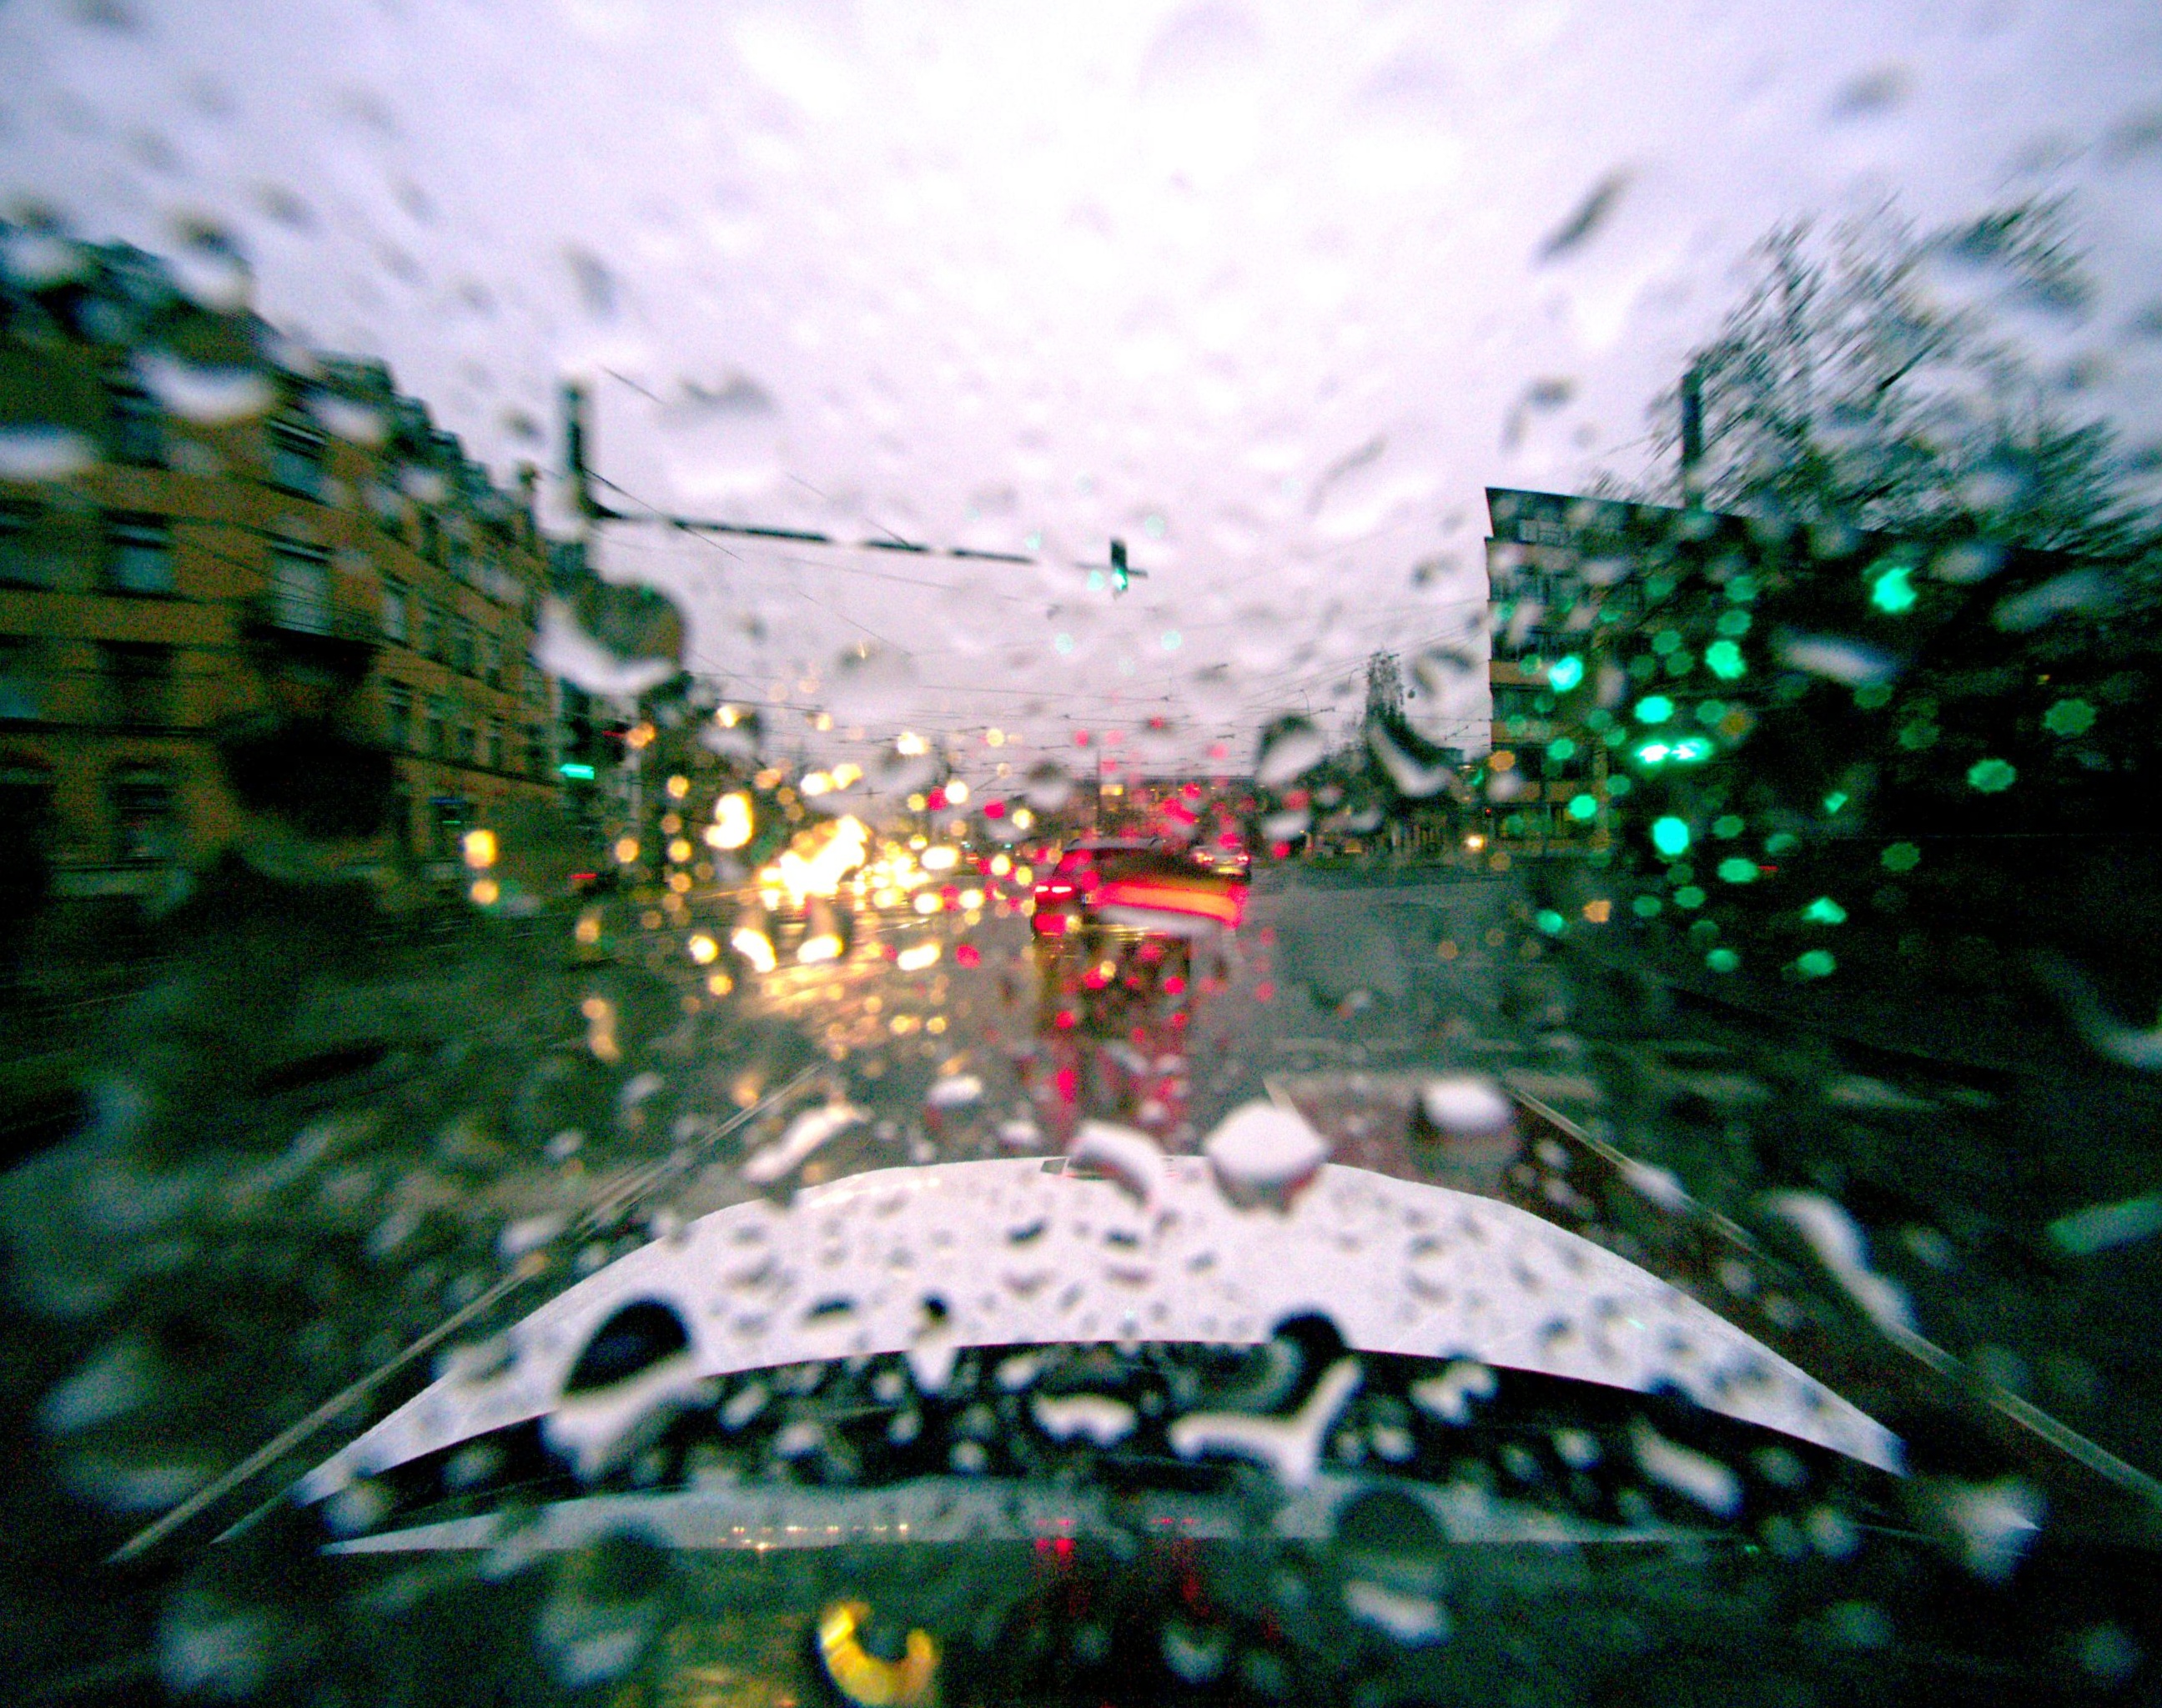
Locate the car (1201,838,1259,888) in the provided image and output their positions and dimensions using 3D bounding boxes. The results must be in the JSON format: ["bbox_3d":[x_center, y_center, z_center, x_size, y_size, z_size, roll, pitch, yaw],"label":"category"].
[{"bbox_3d":[5.773,0.291,31.273,1.980,1.765,4.013,-2,1,12],"label":"car"}]

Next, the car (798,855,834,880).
[{"bbox_3d":[-15.835,0.763,48.830,1.681,1.392,3.598,-2,0,-12],"label":"car"}]

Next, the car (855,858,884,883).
[{"bbox_3d":[-13.502,1.022,52.026,1.683,1.457,4.312,-2,0,-15],"label":"car"}]

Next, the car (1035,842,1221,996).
[{"bbox_3d":[0.520,0.688,10.904,1.984,1.616,4.000,-2,1,0],"label":"car"}]

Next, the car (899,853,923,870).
[{"bbox_3d":[-13.190,0.578,63.149,1.539,1.245,4.065,-2,1,-16],"label":"car"}]

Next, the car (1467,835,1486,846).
[{"bbox_3d":[45.635,-1.564,93.856,1.651,1.180,3.731,-1,1,30],"label":"car"}]

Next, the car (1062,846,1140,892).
[{"bbox_3d":[0.779,0.482,28.353,1.980,1.398,4.013,-2,1,12],"label":"car"}]

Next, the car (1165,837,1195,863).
[{"bbox_3d":[6.983,-0.296,57.612,1.983,1.765,4.007,-2,1,6],"label":"car"}]

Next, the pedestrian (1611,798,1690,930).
[{"bbox_3d":[8.391,0.135,12.024,0.569,1.838,0.685,-7,1,12],"label":"pedestrian"}]

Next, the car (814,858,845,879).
[{"bbox_3d":[-17.662,0.985,57.350,1.681,1.354,4.369,-2,0,-12],"label":"car"}]

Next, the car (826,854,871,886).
[{"bbox_3d":[-11.464,0.762,40.375,1.680,1.457,4.049,-2,0,-10],"label":"car"}]
